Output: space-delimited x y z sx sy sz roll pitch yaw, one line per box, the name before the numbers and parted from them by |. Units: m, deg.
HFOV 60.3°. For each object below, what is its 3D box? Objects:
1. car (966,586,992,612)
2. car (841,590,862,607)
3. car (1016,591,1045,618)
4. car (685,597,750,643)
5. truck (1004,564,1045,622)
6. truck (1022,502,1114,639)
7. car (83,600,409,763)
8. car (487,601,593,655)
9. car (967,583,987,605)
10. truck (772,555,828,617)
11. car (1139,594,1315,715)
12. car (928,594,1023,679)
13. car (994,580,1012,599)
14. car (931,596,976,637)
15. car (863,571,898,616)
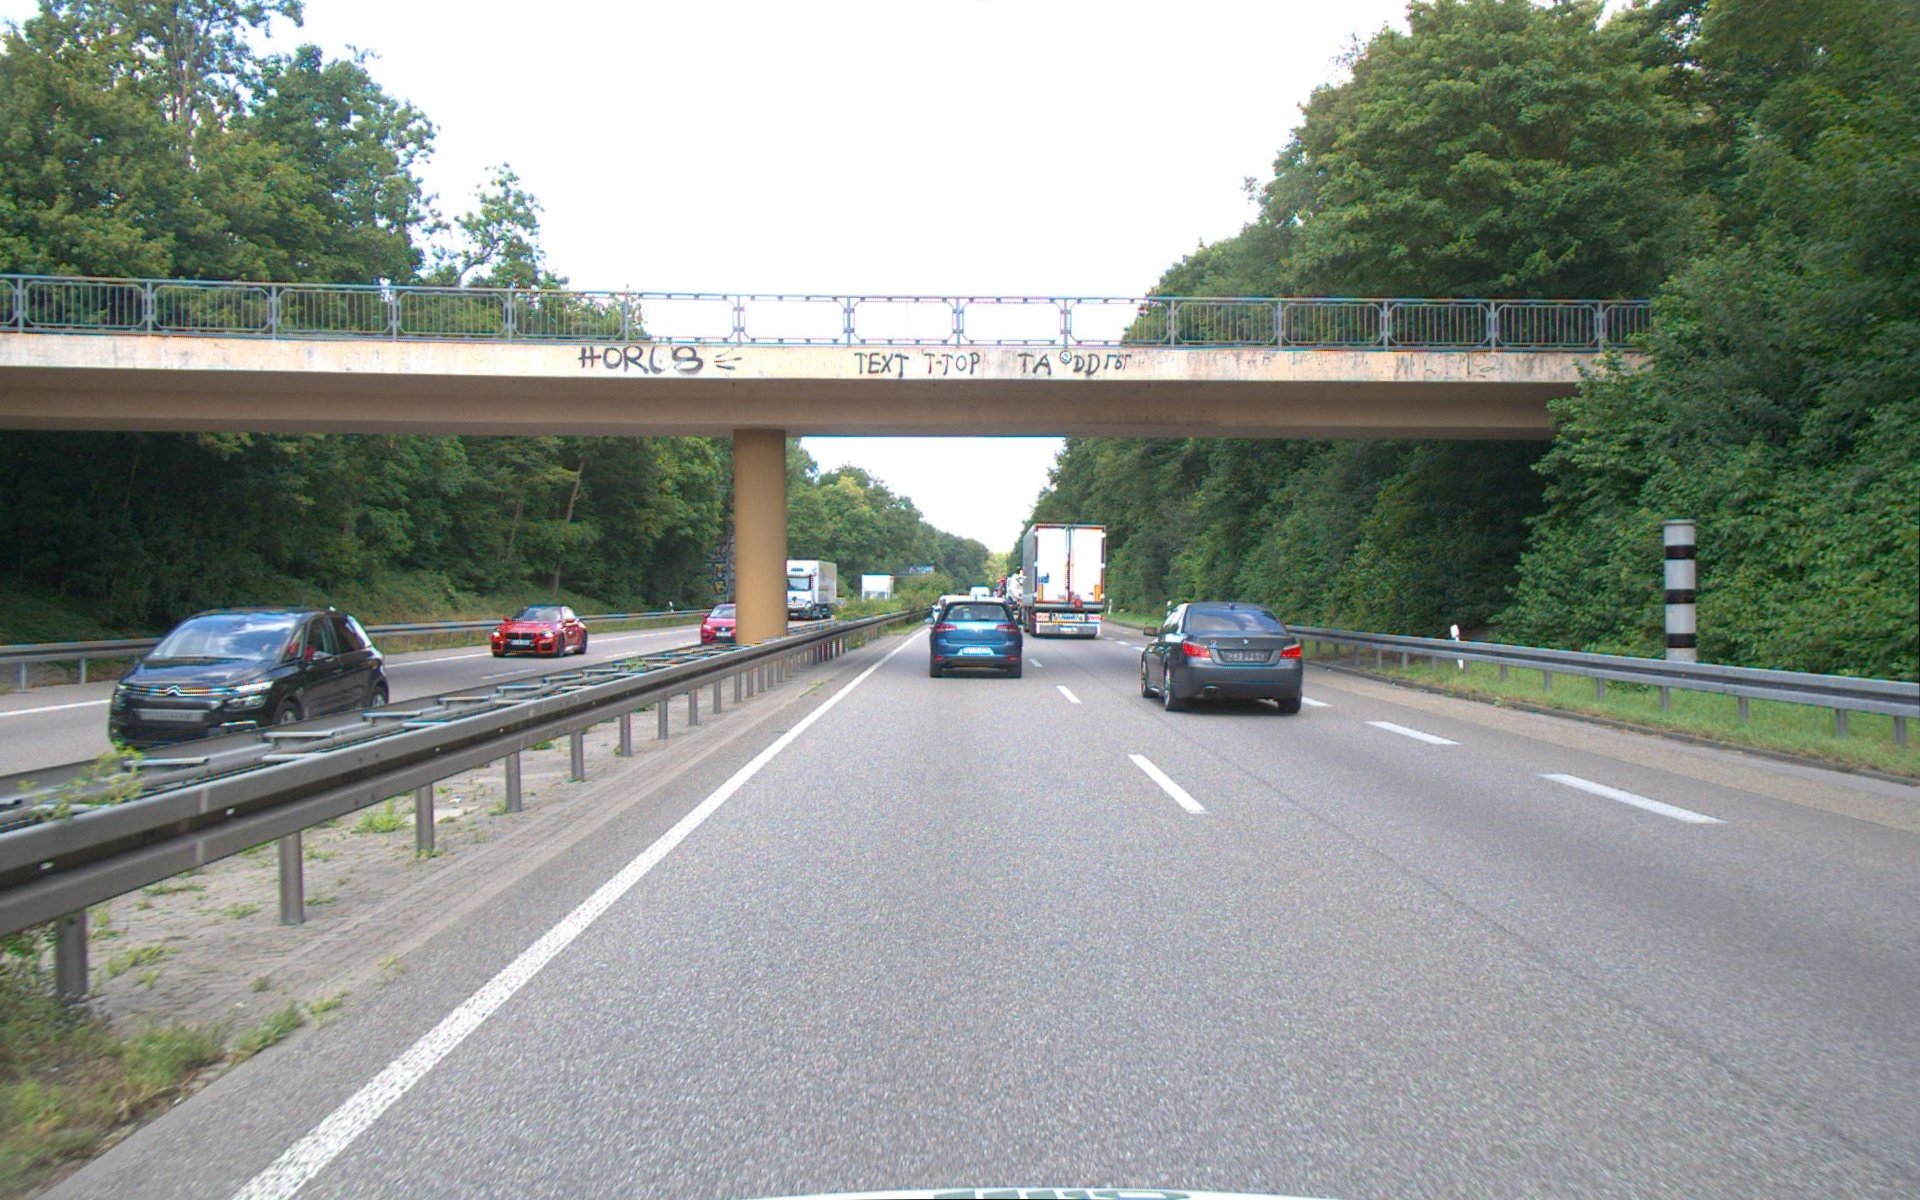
car | 1.561 -0.103 133.027 1.913 2.049 4.001 -1 0 3
car | -11.402 -0.126 173.369 1.790 1.690 4.595 1 0 1
car | 4.649 0.275 109.736 1.849 1.759 4.001 0 0 1
car | -8.390 0.675 57.485 1.651 1.502 4.436 -1 0 -1
truck | 5.253 -0.485 136.636 3.165 4.463 12.972 1 -1 1
truck | 4.088 -1.065 63.687 3.174 4.798 11.011 0 0 3
car | -8.024 0.833 19.117 1.827 1.617 4.564 -1 0 -1
car | -11.837 0.763 46.914 1.826 1.402 4.805 -1 0 -1
car | 1.845 -0.616 177.233 1.953 2.294 4.441 -1 0 -2
truck | -10.803 -0.911 112.570 2.977 4.056 6.749 -1 0 1
car | 3.664 0.690 23.477 1.738 1.501 4.880 1 0 1
car | 0.295 0.652 31.633 1.670 1.495 4.000 1 0 0
car | 5.193 -1.266 200.901 1.953 2.368 4.441 0 0 -2
car | -0.229 0.627 65.401 1.631 1.526 4.152 1 0 1
car | -5.916 -0.469 124.209 2.241 3.289 7.286 -1 0 0
